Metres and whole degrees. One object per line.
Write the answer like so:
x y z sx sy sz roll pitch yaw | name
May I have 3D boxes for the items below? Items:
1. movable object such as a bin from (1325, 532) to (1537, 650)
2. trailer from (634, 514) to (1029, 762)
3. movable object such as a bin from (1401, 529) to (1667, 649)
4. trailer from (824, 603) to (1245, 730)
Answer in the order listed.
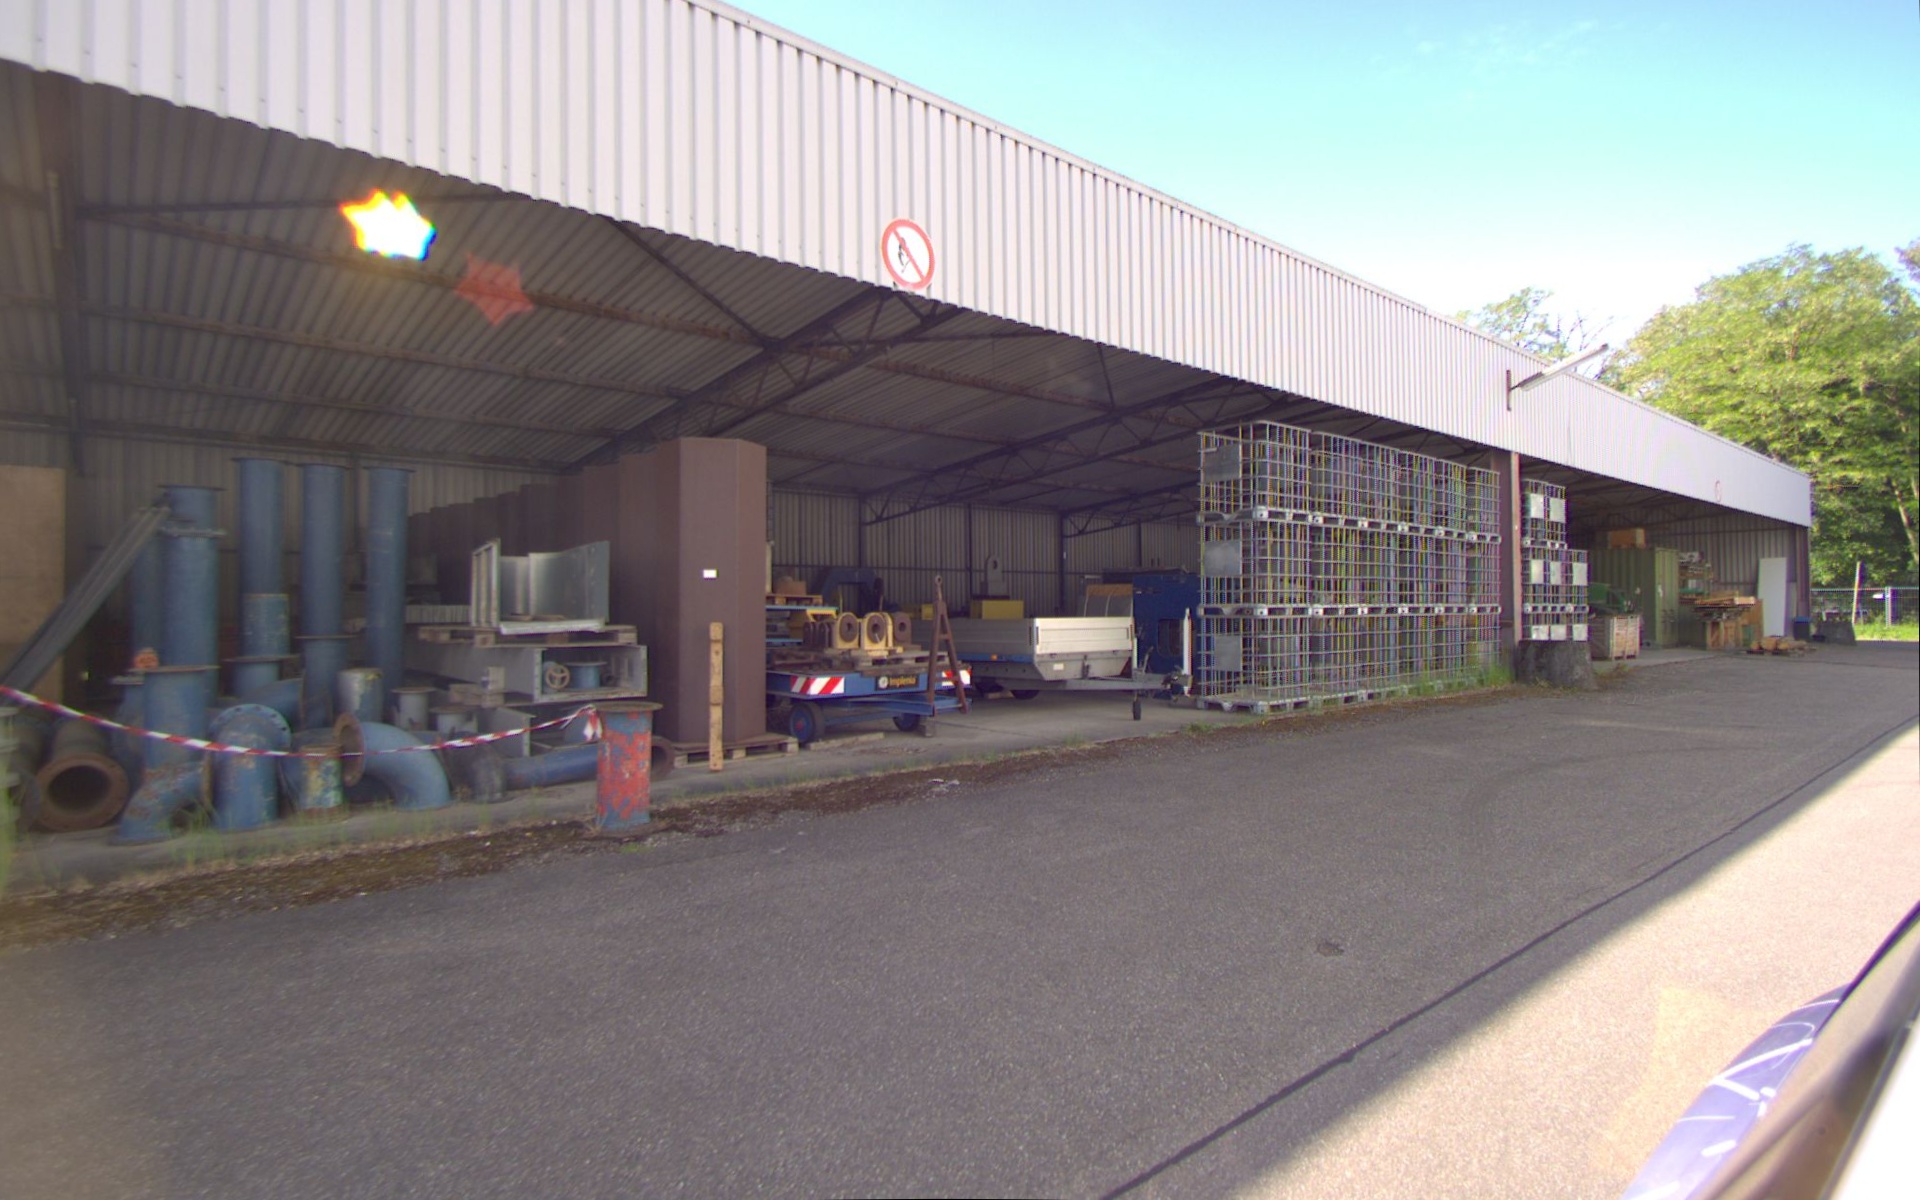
12.483 -0.207 27.022 2.453 2.867 4.535 0 -1 -40 | movable object such as a bin
-1.555 0.274 10.606 2.124 2.015 4.433 -1 1 -39 | trailer
15.770 -0.270 28.111 2.770 2.962 5.845 0 0 -40 | movable object such as a bin
0.648 0.682 13.081 1.940 1.200 5.737 -1 1 -41 | trailer
